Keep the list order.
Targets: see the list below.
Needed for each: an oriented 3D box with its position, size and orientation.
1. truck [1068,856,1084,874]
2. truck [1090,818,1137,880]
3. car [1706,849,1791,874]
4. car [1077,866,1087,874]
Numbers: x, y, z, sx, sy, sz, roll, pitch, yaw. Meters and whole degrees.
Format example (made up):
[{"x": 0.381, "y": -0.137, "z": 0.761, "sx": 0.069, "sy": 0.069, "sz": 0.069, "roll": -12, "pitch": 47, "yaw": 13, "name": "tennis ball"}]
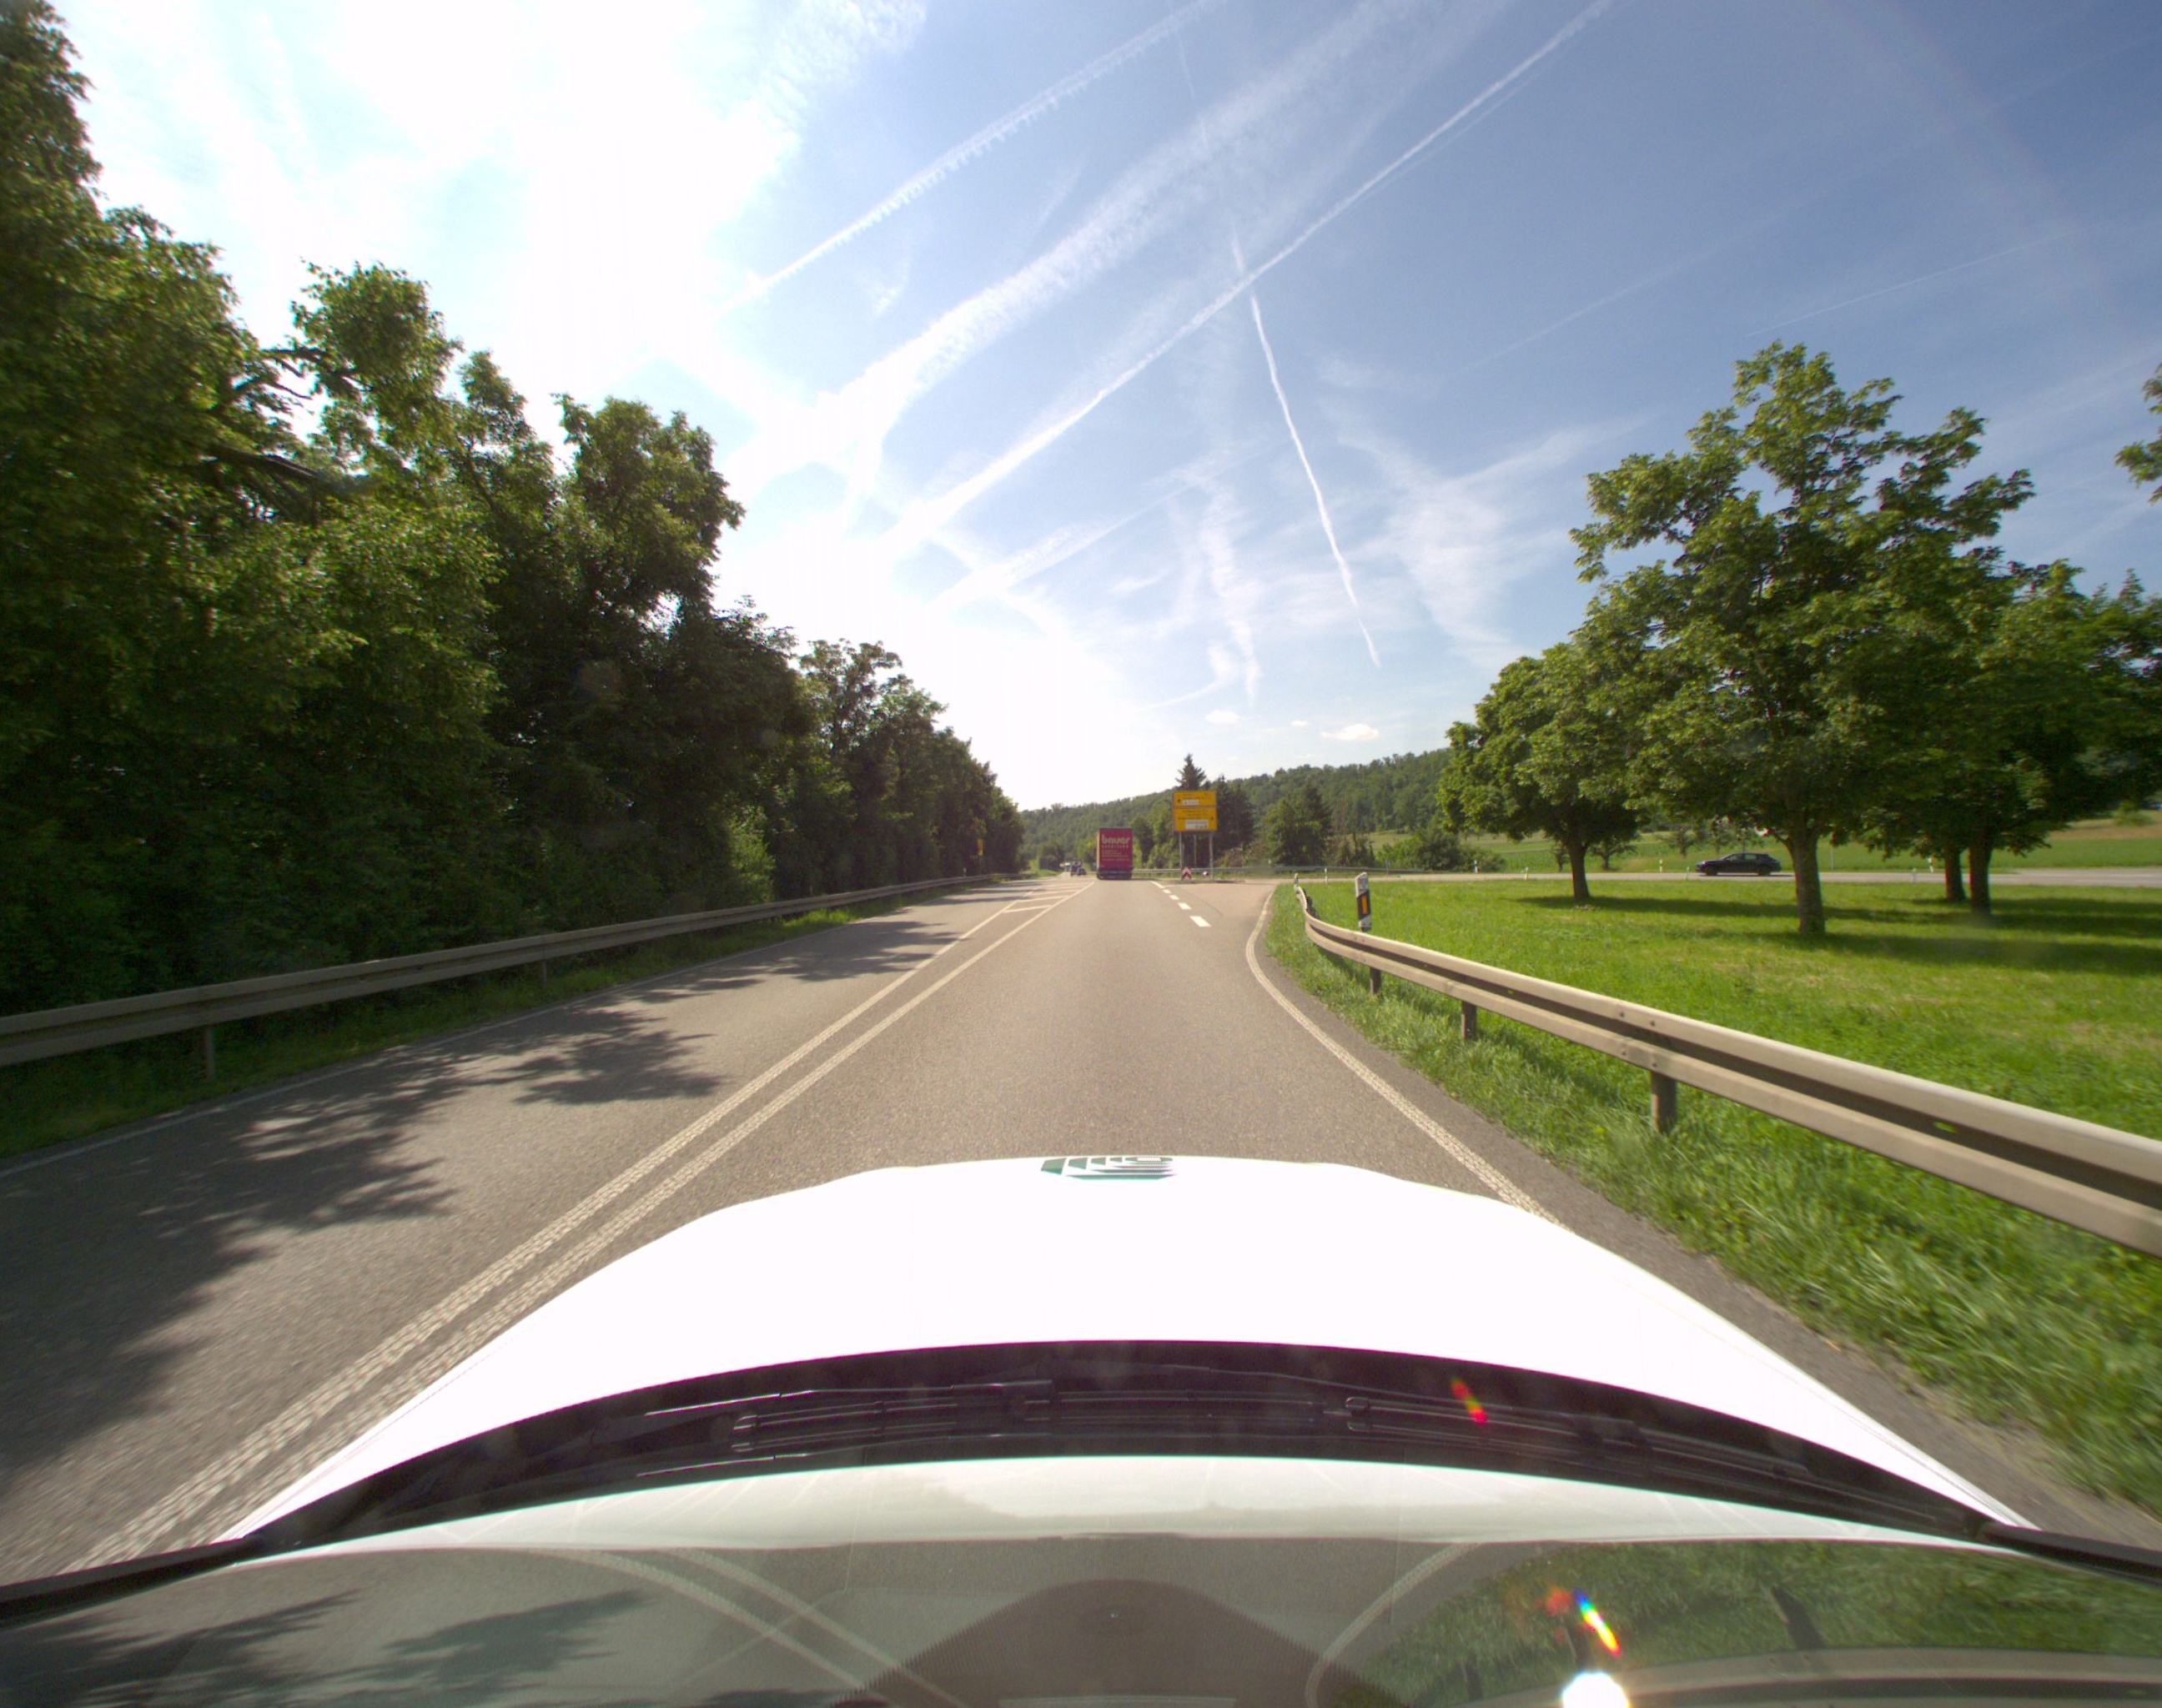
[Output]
[{"x": -1.261, "y": 2.957, "z": 214.106, "sx": 3.894, "sy": 4.370, "sz": 13.282, "roll": 1, "pitch": -2, "yaw": -1, "name": "truck"}, {"x": 2.497, "y": -0.359, "z": 66.972, "sx": 3.163, "sy": 4.625, "sz": 13.538, "roll": 0, "pitch": 0, "yaw": -1, "name": "truck"}, {"x": 45.551, "y": 0.494, "z": 55.693, "sx": 4.372, "sy": 1.589, "sz": 2.077, "roll": 0, "pitch": 1, "yaw": 37, "name": "car"}, {"x": 0.153, "y": 3.583, "z": 182.861, "sx": 1.988, "sy": 1.810, "sz": 3.996, "roll": 2, "pitch": -2, "yaw": -2, "name": "car"}]
